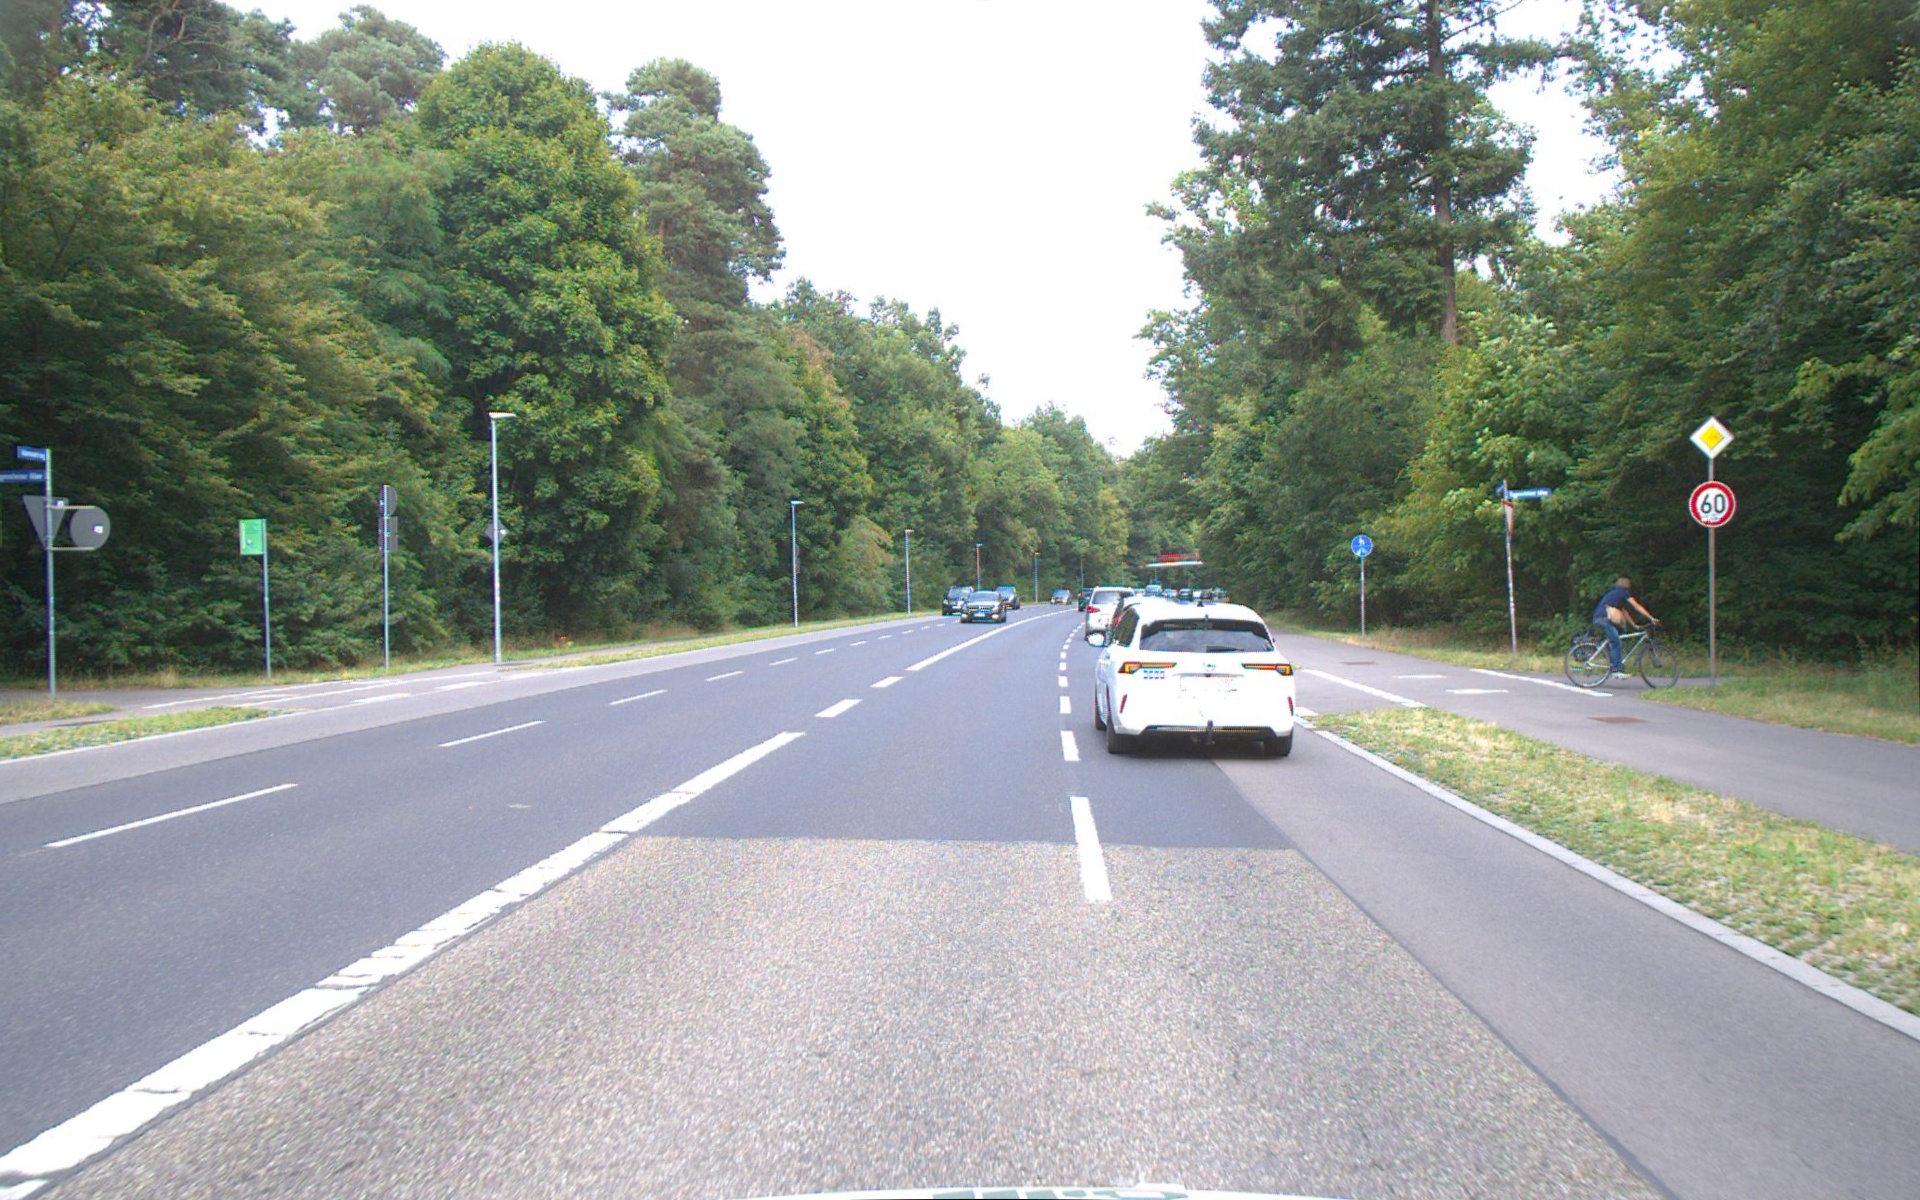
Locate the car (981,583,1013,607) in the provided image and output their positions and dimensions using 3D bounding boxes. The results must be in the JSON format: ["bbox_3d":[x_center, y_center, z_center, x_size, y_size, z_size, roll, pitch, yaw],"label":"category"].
[{"bbox_3d":[2.771,-0.383,122.943,1.951,1.645,4.666,2,0,6],"label":"car"}]

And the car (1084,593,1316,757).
[{"bbox_3d":[2.293,0.660,16.907,1.798,1.435,4.491,0,0,1],"label":"car"}]

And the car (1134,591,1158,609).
[{"bbox_3d":[20.175,-0.028,179.305,1.951,1.814,4.003,2,-1,14],"label":"car"}]

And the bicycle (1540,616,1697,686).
[{"bbox_3d":[10.021,0.756,25.187,2.135,1.011,0.709,0,0,33],"label":"bicycle"}]

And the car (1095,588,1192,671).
[{"bbox_3d":[3.469,0.551,31.760,1.601,1.445,4.001,2,0,3],"label":"car"}]

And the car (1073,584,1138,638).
[{"bbox_3d":[4.709,0.363,53.891,1.952,1.635,4.001,2,0,3],"label":"car"}]

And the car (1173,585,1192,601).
[{"bbox_3d":[27.224,-0.882,202.590,1.951,1.814,4.003,2,-1,12],"label":"car"}]

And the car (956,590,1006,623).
[{"bbox_3d":[1.001,0.320,76.342,1.951,1.460,4.723,1,-1,5],"label":"car"}]

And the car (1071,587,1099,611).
[{"bbox_3d":[8.915,-0.077,118.142,1.693,1.615,4.003,2,0,8],"label":"car"}]

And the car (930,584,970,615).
[{"bbox_3d":[-0.543,-0.012,95.126,1.882,1.684,4.472,1,-1,5],"label":"car"}]

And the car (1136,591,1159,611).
[{"bbox_3d":[17.384,0.102,153.116,1.951,1.814,4.003,2,0,8],"label":"car"}]

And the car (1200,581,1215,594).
[{"bbox_3d":[34.838,-1.772,232.785,1.951,1.735,4.004,0,0,11],"label":"car"}]

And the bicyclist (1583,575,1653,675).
[{"bbox_3d":[10.015,0.372,25.176,0.882,1.496,0.709,0,0,32],"label":"bicyclist"}]
